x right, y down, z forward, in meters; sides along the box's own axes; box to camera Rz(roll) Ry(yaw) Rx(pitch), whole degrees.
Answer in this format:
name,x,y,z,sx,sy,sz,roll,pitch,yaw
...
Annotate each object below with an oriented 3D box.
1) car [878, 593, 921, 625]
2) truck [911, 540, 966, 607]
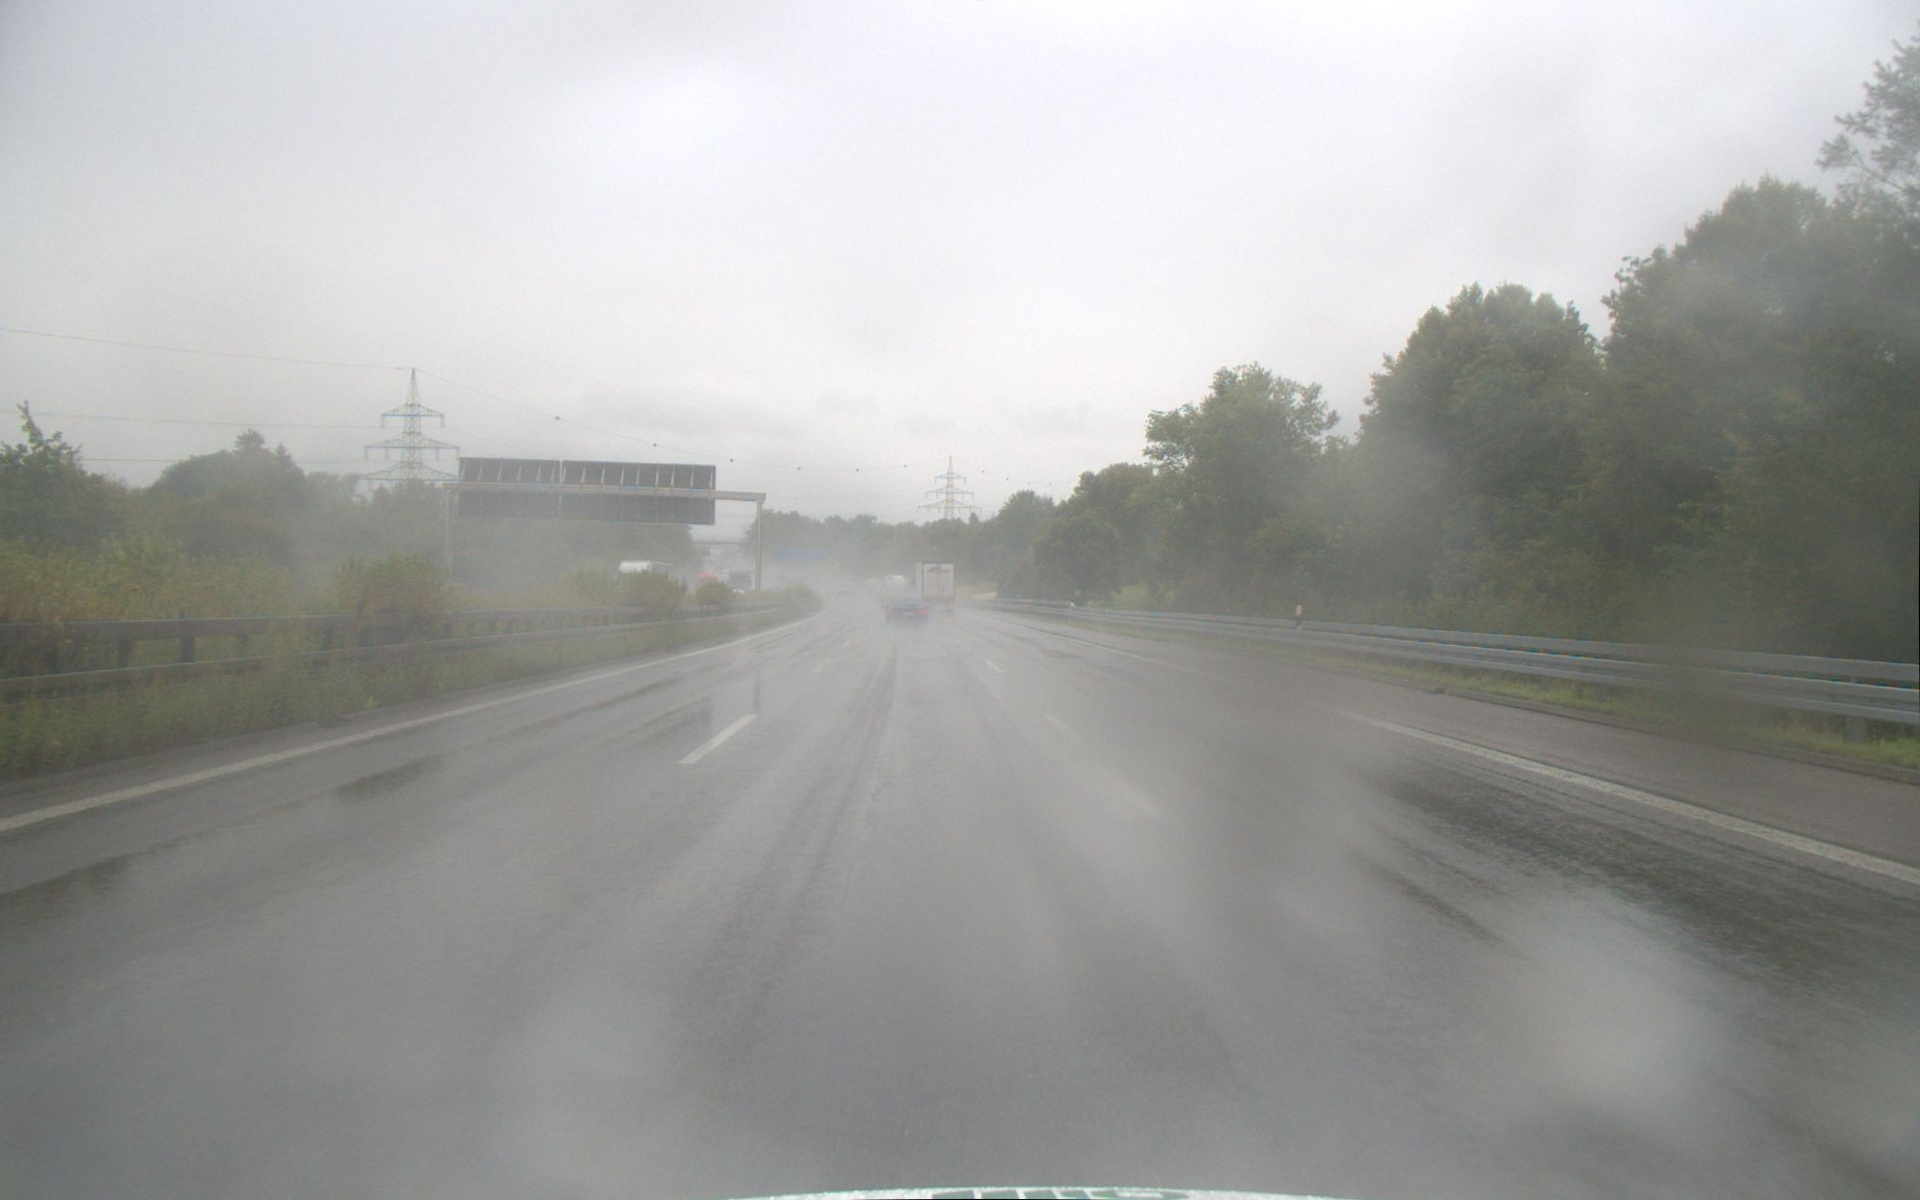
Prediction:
name,x,y,z,sx,sy,sz,roll,pitch,yaw
car,-2.550,0.383,70.688,1.713,1.233,3.999,3,0,-1
truck,-1.867,-2.179,135.056,4.170,5.058,17.336,-1,1,-2
